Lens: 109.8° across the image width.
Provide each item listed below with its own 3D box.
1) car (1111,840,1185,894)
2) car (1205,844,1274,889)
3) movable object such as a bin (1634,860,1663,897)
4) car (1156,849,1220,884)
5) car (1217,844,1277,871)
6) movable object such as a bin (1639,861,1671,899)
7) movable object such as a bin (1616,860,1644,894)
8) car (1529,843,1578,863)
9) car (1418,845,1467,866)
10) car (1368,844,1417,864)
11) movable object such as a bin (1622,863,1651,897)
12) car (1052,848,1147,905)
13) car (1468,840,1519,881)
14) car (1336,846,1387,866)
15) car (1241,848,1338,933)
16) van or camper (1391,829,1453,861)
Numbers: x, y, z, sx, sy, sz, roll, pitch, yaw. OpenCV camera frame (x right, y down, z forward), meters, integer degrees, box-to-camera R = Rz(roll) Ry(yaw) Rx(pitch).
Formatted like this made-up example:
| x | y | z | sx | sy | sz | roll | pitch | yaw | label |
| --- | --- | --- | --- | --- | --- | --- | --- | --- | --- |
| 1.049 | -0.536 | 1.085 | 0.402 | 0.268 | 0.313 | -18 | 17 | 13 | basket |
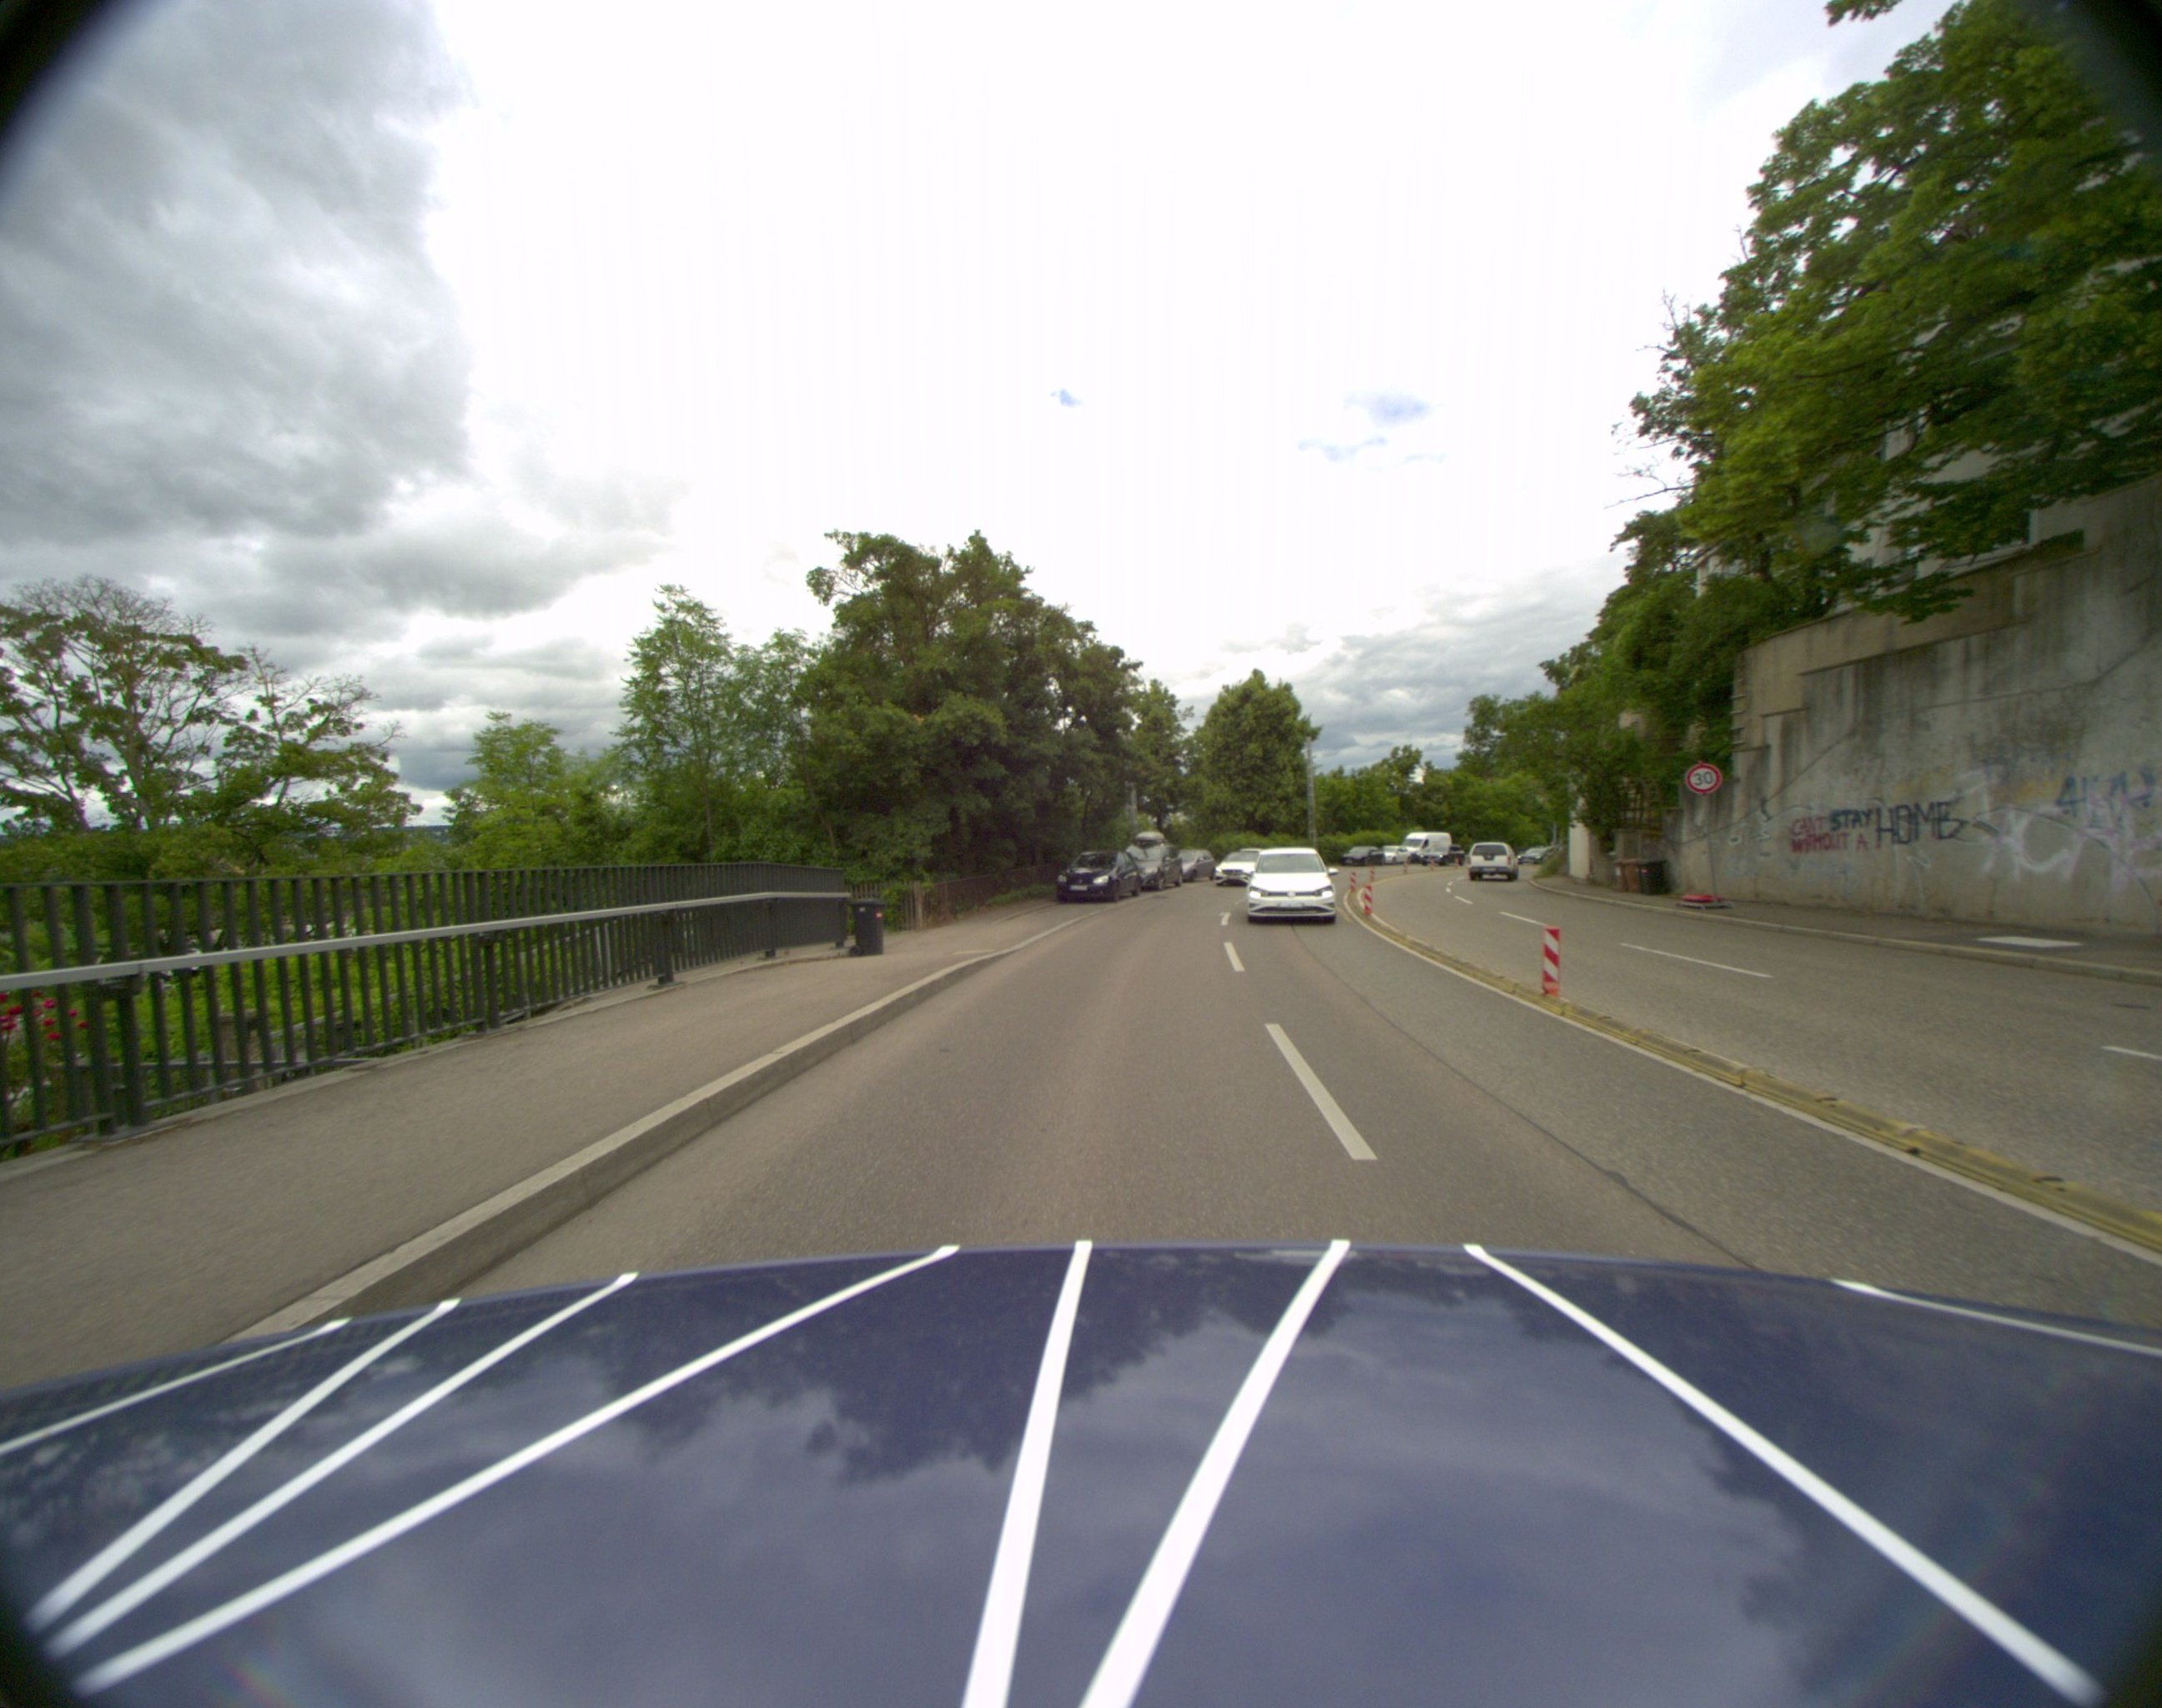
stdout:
| x | y | z | sx | sy | sz | roll | pitch | yaw | label |
| --- | --- | --- | --- | --- | --- | --- | --- | --- | --- |
| 2.593 | 0.401 | 28.423 | 1.695 | 1.821 | 4.409 | 2 | 2 | 19 | car |
| 6.746 | 0.461 | 32.026 | 1.995 | 1.708 | 4.006 | 2 | 2 | 24 | car |
| 14.929 | 0.639 | 20.001 | 0.527 | 0.957 | 0.401 | -1 | 1 | 20 | movable object such as a bin |
| 4.886 | 0.517 | 34.239 | 1.930 | 1.425 | 4.006 | -1 | 1 | 21 | car |
| 9.684 | 0.169 | 44.079 | 1.929 | 1.425 | 4.008 | 1 | 1 | 36 | car |
| 14.702 | 0.665 | 19.470 | 0.527 | 0.957 | 0.460 | -1 | 1 | 20 | movable object such as a bin |
| 15.443 | 0.645 | 21.387 | 0.527 | 0.957 | 0.431 | -1 | 1 | 20 | movable object such as a bin |
| 40.049 | -0.117 | 64.360 | 4.147 | 1.485 | 1.920 | -4 | 3 | -32 | car |
| 27.959 | 0.102 | 58.724 | 4.149 | 1.485 | 1.897 | -2 | 1 | -40 | car |
| 24.719 | -0.001 | 60.242 | 4.107 | 1.425 | 1.871 | -2 | 1 | -40 | car |
| 15.278 | 0.707 | 20.892 | 0.527 | 0.925 | 0.482 | -1 | 1 | 20 | movable object such as a bin |
| 0.647 | 0.637 | 22.946 | 1.695 | 1.513 | 3.923 | 2 | 1 | 19 | car |
| 19.964 | 0.257 | 36.843 | 1.994 | 1.818 | 5.155 | 1 | 2 | 28 | car |
| 20.791 | 0.129 | 56.212 | 4.107 | 1.425 | 1.929 | -2 | 1 | -44 | car |
| 4.675 | 0.697 | 16.996 | 1.823 | 1.571 | 4.360 | 0 | 1 | 16 | car |
| 28.810 | -0.780 | 64.138 | 5.431 | 2.613 | 2.261 | -2 | 1 | -36 | van or camper |
